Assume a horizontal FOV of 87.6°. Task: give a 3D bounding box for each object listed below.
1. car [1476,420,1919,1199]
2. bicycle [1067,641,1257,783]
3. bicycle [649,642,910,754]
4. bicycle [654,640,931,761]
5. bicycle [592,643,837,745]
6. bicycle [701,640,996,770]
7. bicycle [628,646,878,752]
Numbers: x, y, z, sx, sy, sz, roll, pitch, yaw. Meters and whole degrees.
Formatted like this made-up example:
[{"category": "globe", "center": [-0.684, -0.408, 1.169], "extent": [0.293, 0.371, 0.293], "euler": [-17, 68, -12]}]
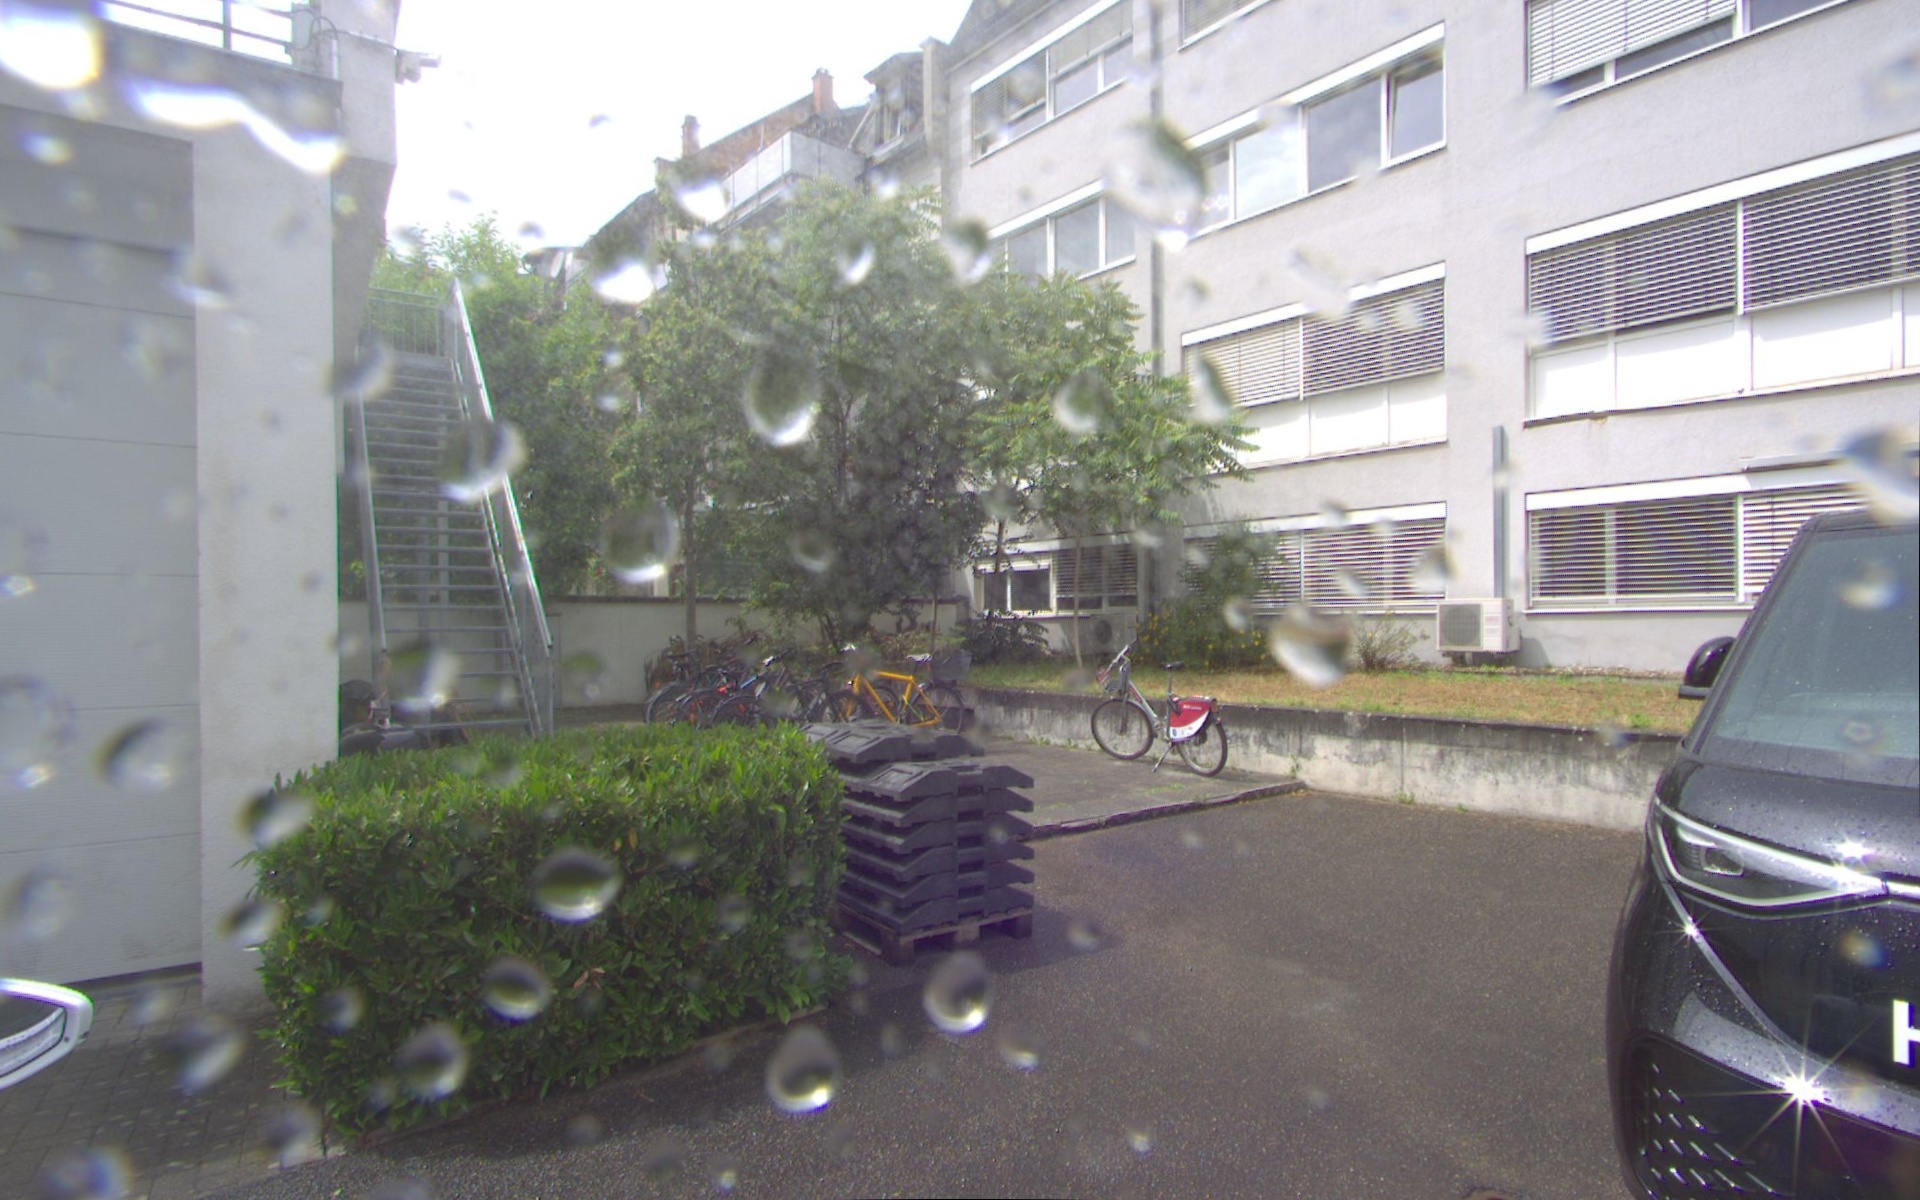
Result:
[{"category": "car", "center": [3.566, 0.610, 2.929], "extent": [4.673, 1.857, 2.092], "euler": [-1, 0, -41]}, {"category": "bicycle", "center": [1.821, 0.971, 9.239], "extent": [0.609, 1.173, 1.708], "euler": [0, -1, -41]}, {"category": "bicycle", "center": [-1.920, 1.034, 11.070], "extent": [2.819, 1.092, 0.684], "euler": [3, -1, -38]}, {"category": "bicycle", "center": [-1.653, 0.991, 10.369], "extent": [2.819, 1.092, 0.684], "euler": [3, -1, -38]}, {"category": "bicycle", "center": [-2.895, 1.090, 12.102], "extent": [2.819, 1.092, 0.684], "euler": [3, -1, -38]}, {"category": "bicycle", "center": [-0.997, 0.963, 9.728], "extent": [2.899, 1.092, 0.684], "euler": [3, -1, -38]}, {"category": "bicycle", "center": [-2.337, 1.101, 11.645], "extent": [2.819, 1.092, 0.684], "euler": [3, -1, -38]}]
